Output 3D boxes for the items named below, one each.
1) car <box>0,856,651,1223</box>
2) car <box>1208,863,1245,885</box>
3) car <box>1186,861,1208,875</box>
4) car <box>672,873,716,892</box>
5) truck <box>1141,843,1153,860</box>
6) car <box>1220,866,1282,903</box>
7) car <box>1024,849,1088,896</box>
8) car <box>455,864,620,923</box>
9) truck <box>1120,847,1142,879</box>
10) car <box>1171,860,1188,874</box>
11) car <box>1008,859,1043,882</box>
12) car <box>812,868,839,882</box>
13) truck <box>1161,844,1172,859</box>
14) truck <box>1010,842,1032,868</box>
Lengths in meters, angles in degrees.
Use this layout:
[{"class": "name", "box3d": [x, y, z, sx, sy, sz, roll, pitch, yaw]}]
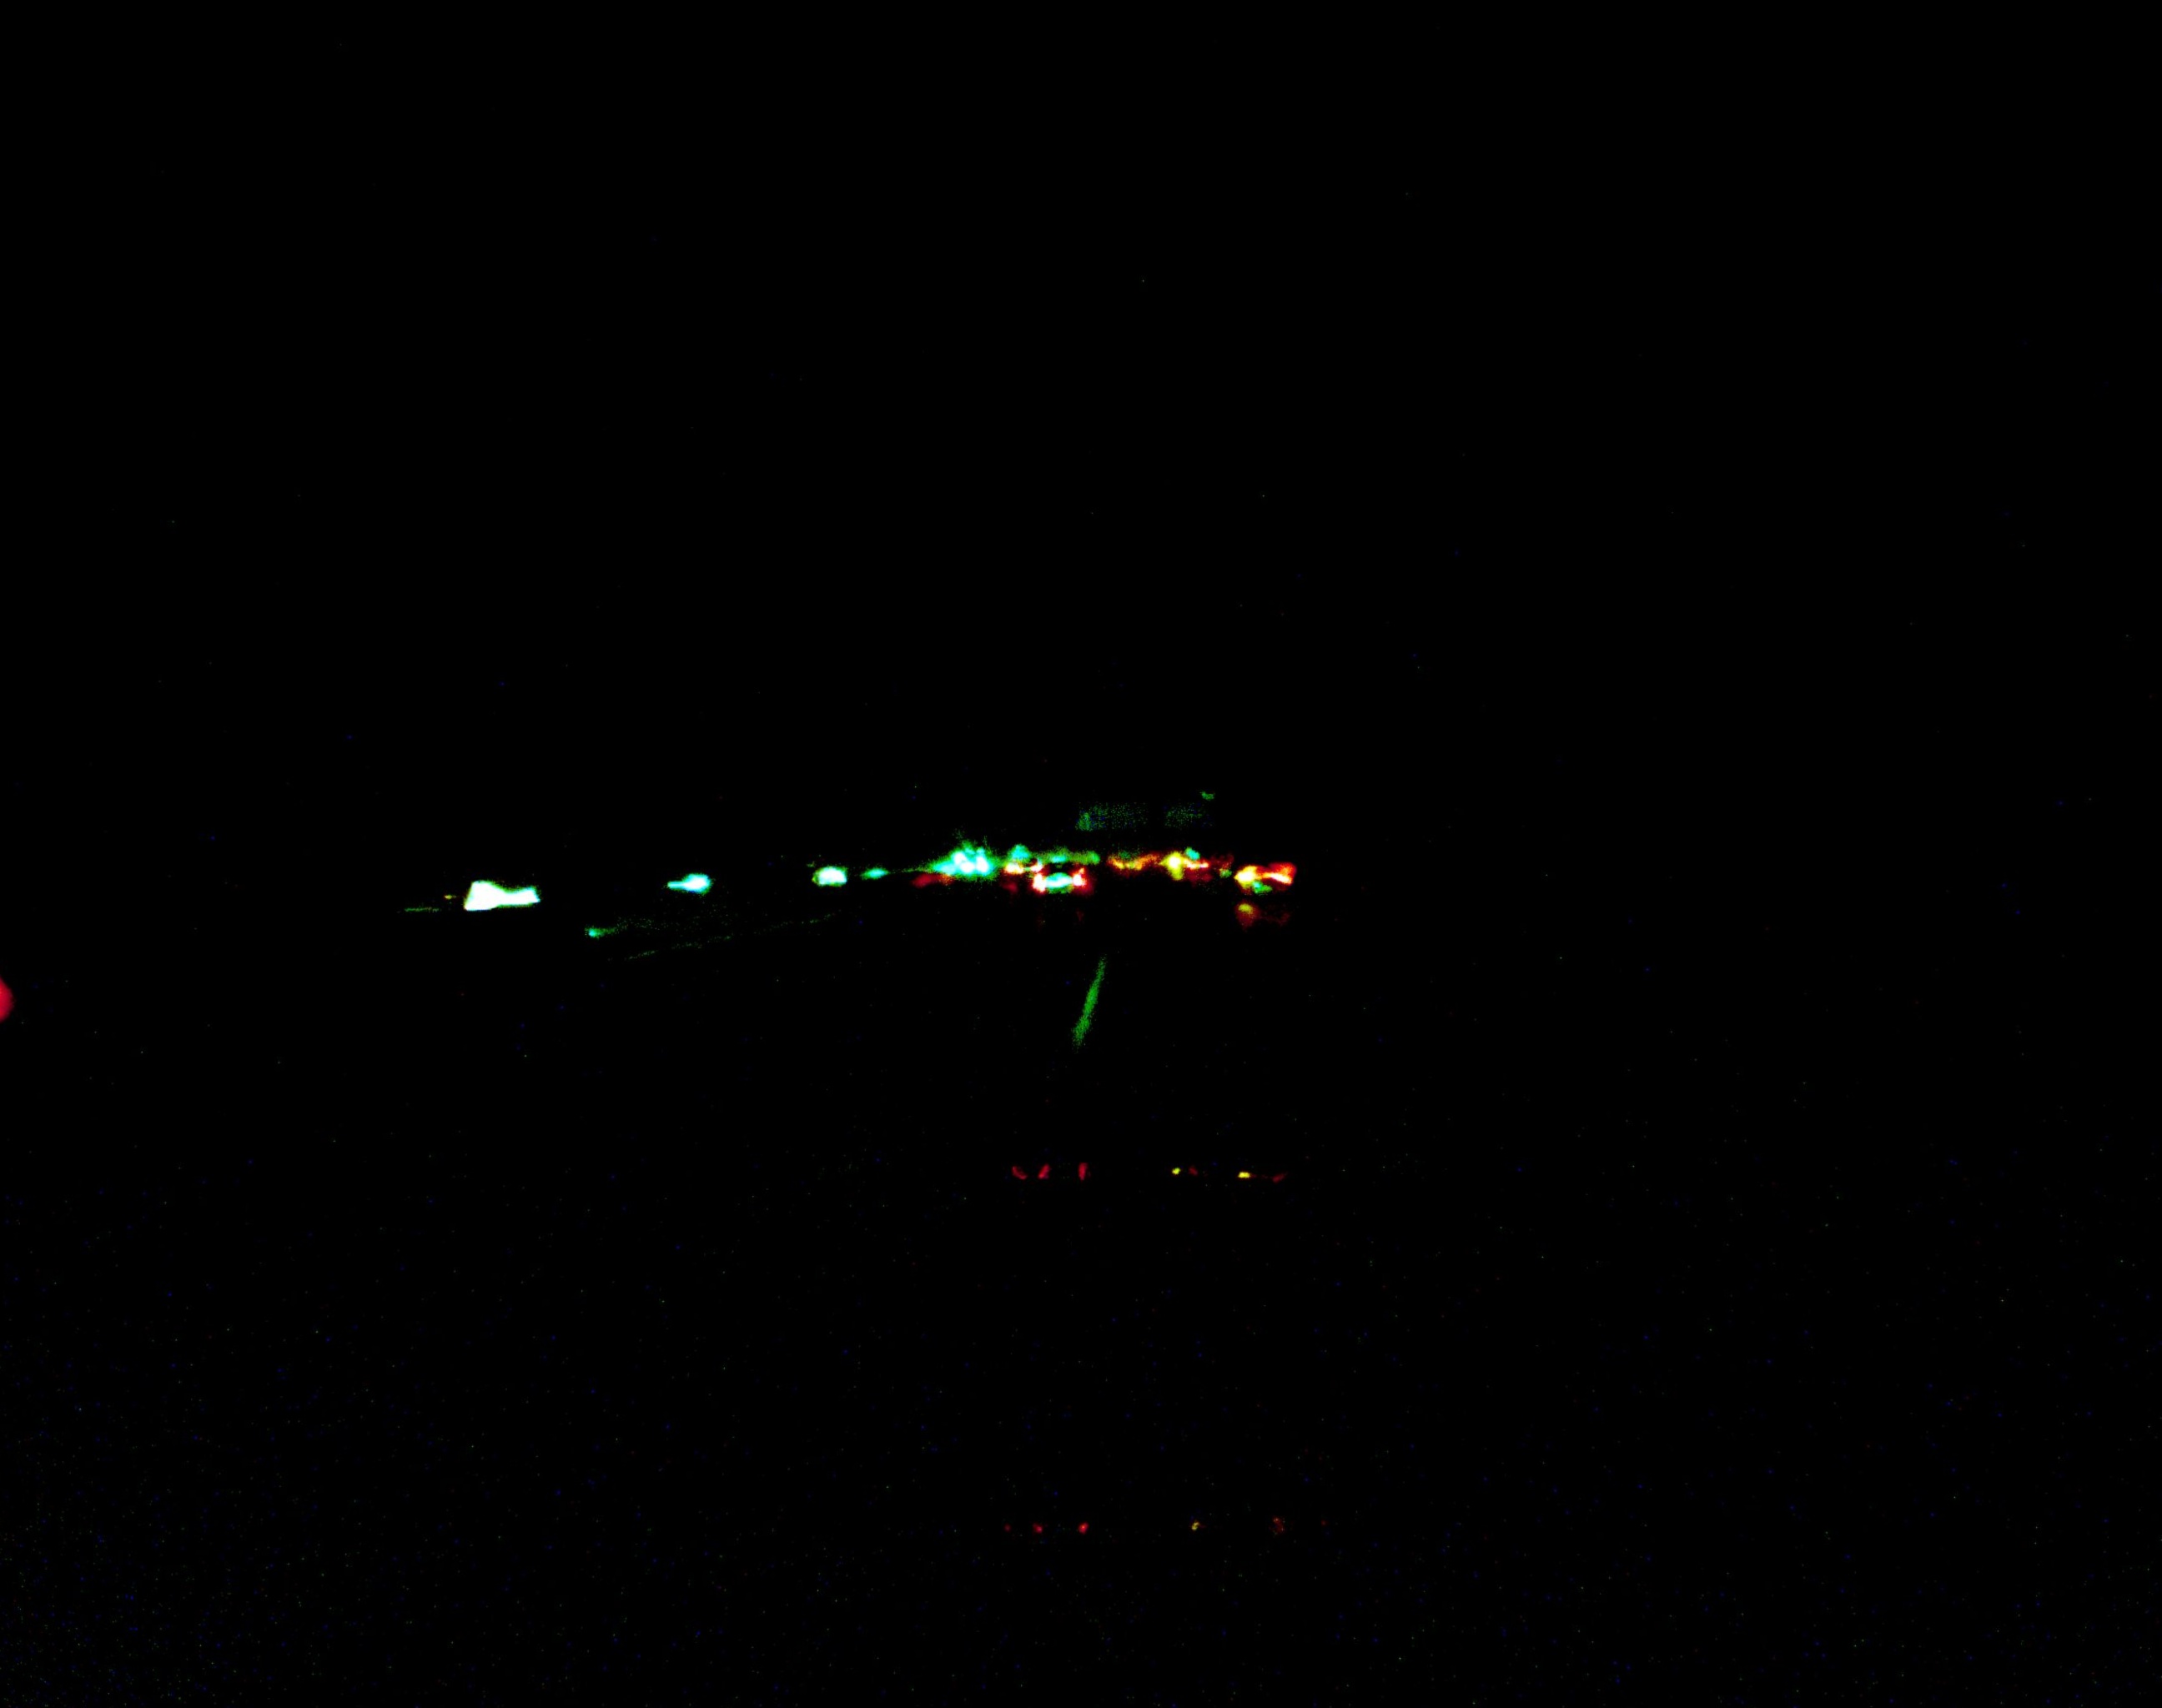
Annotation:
[{"class": "car", "box3d": [-5.454, 0.821, 5.918, 1.850, 1.540, 4.756, -1, 0, 4]}, {"class": "car", "box3d": [8.286, 1.121, 46.542, 1.576, 1.246, 3.068, 0, -1, 0]}, {"class": "car", "box3d": [10.636, 1.268, 74.792, 1.576, 1.246, 3.068, 0, -1, 0]}, {"class": "car", "box3d": [-30.004, 2.190, 63.296, 1.478, 1.284, 3.559, -1, 0, 4]}, {"class": "truck", "box3d": [12.834, -0.413, 158.009, 1.984, 3.043, 6.474, -4, -1, 5]}, {"class": "car", "box3d": [6.022, 1.055, 29.163, 1.576, 1.246, 3.068, 0, -1, 0]}, {"class": "car", "box3d": [-0.790, 0.582, 28.301, 1.794, 1.487, 4.004, -1, 0, 4]}, {"class": "car", "box3d": [-17.067, 1.172, 25.939, 1.660, 1.597, 4.894, -4, -1, 3]}, {"class": "truck", "box3d": [5.294, 0.948, 85.526, 1.984, 3.043, 6.474, -4, -1, 5]}, {"class": "car", "box3d": [11.773, 1.589, 97.189, 1.854, 1.618, 4.006, 0, -1, 5]}, {"class": "car", "box3d": [-3.363, 0.986, 49.640, 1.656, 1.236, 3.763, -4, -1, 2]}, {"class": "car", "box3d": [-26.403, 2.186, 84.355, 1.489, 1.284, 3.235, -4, -1, 5]}, {"class": "truck", "box3d": [18.522, -0.575, 176.796, 1.984, 3.043, 6.474, -4, -1, 5]}, {"class": "truck", "box3d": [-12.085, 0.295, 164.591, 2.910, 4.849, 7.584, -4, -1, 4]}]
